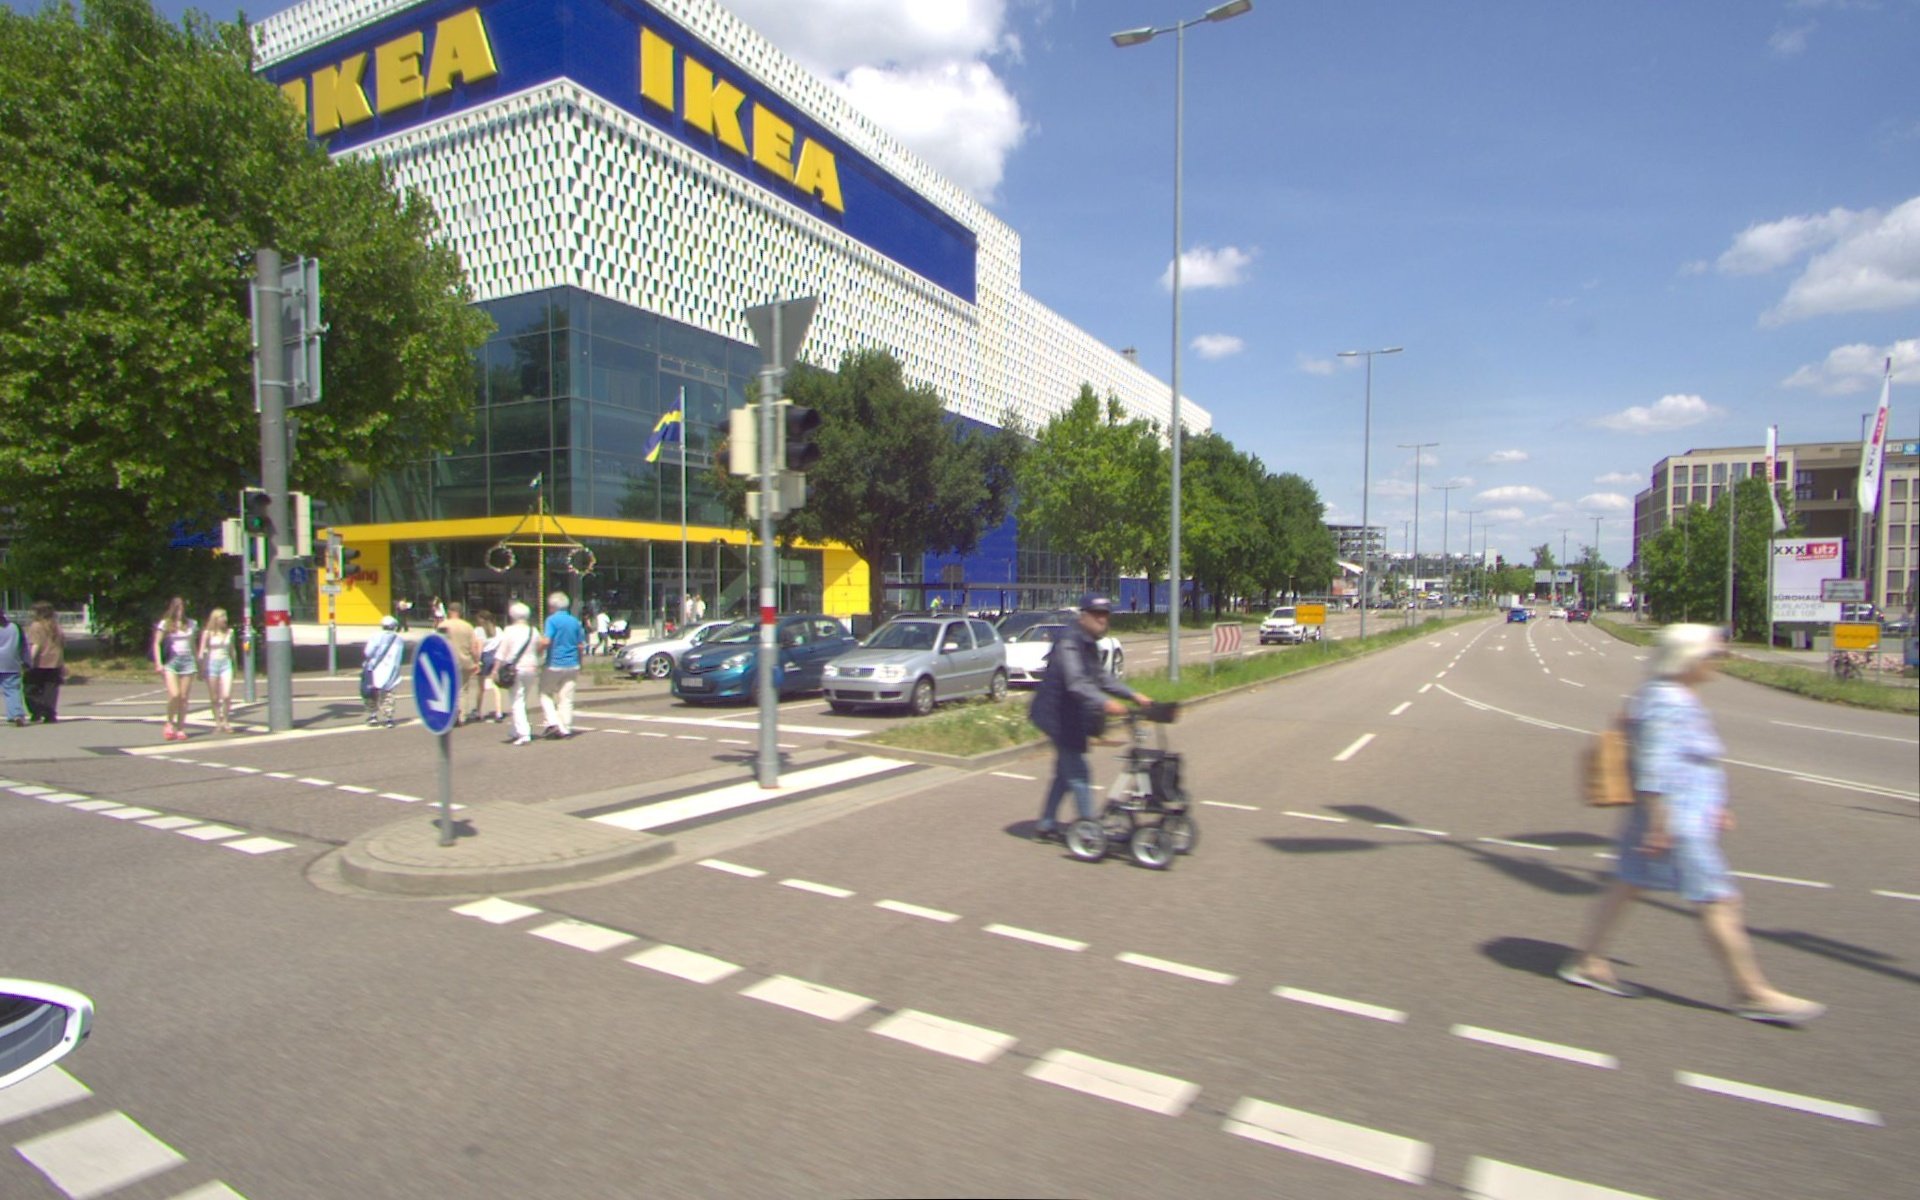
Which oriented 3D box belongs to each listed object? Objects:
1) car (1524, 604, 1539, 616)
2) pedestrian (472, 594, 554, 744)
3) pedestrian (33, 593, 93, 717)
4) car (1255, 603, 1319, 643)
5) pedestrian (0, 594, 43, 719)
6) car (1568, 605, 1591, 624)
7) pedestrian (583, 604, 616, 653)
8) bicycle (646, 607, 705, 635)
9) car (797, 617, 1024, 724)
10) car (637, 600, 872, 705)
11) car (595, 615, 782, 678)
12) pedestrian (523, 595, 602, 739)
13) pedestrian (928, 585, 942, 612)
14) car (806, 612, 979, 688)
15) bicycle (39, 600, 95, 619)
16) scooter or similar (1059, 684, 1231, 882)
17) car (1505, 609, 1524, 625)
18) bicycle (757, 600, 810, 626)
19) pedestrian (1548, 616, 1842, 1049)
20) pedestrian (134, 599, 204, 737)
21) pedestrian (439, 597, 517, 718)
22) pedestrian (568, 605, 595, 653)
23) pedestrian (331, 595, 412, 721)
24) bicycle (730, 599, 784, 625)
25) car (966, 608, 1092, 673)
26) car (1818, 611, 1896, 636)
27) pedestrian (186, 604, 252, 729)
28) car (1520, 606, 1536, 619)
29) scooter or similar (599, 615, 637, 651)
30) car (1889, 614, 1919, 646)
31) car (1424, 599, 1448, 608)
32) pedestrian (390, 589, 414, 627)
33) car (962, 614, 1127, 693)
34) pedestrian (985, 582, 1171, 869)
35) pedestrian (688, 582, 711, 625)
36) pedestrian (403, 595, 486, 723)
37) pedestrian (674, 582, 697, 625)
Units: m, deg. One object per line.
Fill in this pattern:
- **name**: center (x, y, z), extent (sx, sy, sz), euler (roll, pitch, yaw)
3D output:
- **car**: center (79.281, 1.369, 138.855), extent (1.734, 1.633, 3.533), euler (1, 0, 29)
- **pedestrian**: center (-5.172, 0.772, 11.578), extent (0.602, 1.659, 0.855), euler (0, 0, -45)
- **pedestrian**: center (-12.782, 0.762, 14.272), extent (0.619, 1.705, 0.718), euler (0, 1, -44)
- **car**: center (14.796, 1.004, 45.158), extent (1.969, 1.662, 4.064), euler (1, 0, 29)
- **pedestrian**: center (-12.745, 0.732, 13.333), extent (0.760, 1.627, 0.887), euler (0, 1, -44)
- **car**: center (70.348, 1.625, 113.776), extent (1.969, 2.040, 3.982), euler (1, 0, 29)
- **pedestrian**: center (-12.228, 0.956, 33.968), extent (0.622, 1.607, 0.918), euler (1, 1, 23)
- **bicycle**: center (-12.230, 0.890, 43.058), extent (2.388, 1.160, 0.801), euler (1, 1, 15)
- **car**: center (-0.636, 0.989, 15.647), extent (1.776, 1.415, 3.819), euler (1, 0, 29)
- **car**: center (-3.422, 0.824, 17.437), extent (1.968, 1.576, 3.986), euler (1, 0, 26)
- **car**: center (-6.772, 1.125, 25.289), extent (1.714, 1.436, 4.282), euler (0, -1, 45)
- **pedestrian**: center (-4.790, 0.785, 12.064), extent (0.598, 1.659, 0.855), euler (0, 0, -45)
- **pedestrian**: center (-1.506, -0.112, 59.620), extent (0.570, 1.607, 0.766), euler (1, 1, 23)
- **car**: center (-1.374, 1.021, 22.234), extent (1.824, 1.462, 4.398), euler (1, 0, 27)
- **bicycle**: center (-47.909, 0.497, 53.740), extent (0.854, 0.982, 2.060), euler (1, 1, 24)
- **scooter or similar**: center (1.156, 1.091, 6.237), extent (0.850, 1.045, 0.688), euler (1, 0, 33)
- **car**: center (57.188, 1.728, 103.289), extent (1.734, 1.633, 3.533), euler (1, 0, 29)
- **bicycle**: center (-8.576, 0.615, 48.649), extent (2.388, 1.215, 0.801), euler (1, 1, 15)
- **pedestrian**: center (2.810, 0.819, 3.915), extent (0.792, 1.495, 0.589), euler (1, 0, 23)
- **pedestrian**: center (-9.986, 0.839, 12.645), extent (0.631, 1.688, 0.526), euler (1, 1, 32)
- **pedestrian**: center (-6.998, 0.805, 14.532), extent (0.790, 1.681, 0.843), euler (0, 1, -45)
- **pedestrian**: center (-12.893, 0.972, 34.096), extent (0.622, 1.607, 0.610), euler (1, 1, 23)
- **pedestrian**: center (-8.165, 0.772, 13.887), extent (0.790, 1.681, 0.843), euler (0, 1, -45)
- **bicycle**: center (-9.594, 0.559, 47.303), extent (2.388, 1.215, 0.801), euler (1, 1, 15)
- **car**: center (1.999, 1.053, 27.567), extent (1.834, 1.605, 4.397), euler (1, 0, 28)
- **car**: center (66.076, 1.726, 73.858), extent (3.943, 1.706, 1.989), euler (1, 0, 33)
- **pedestrian**: center (-9.791, 0.852, 13.230), extent (0.603, 1.601, 0.526), euler (1, 1, 32)
- **car**: center (73.060, 1.637, 128.740), extent (1.734, 1.633, 3.533), euler (1, 0, 29)
- **scooter or similar**: center (-11.847, 1.130, 34.690), extent (0.717, 1.214, 1.073), euler (1, 0, 26)
- **car**: center (54.333, 1.681, 55.277), extent (4.058, 1.706, 1.993), euler (1, 0, 27)
- **car**: center (88.350, 0.618, 185.894), extent (3.622, 1.633, 1.800), euler (1, 0, 4)
- **pedestrian**: center (-26.170, 0.350, 46.962), extent (0.732, 1.759, 0.777), euler (2, 1, 40)
- **car**: center (1.839, 1.059, 20.468), extent (1.776, 1.416, 4.216), euler (0, -2, 29)
- **pedestrian**: center (0.769, 0.744, 6.494), extent (0.934, 1.695, 0.780), euler (1, 0, 35)
- **pedestrian**: center (-12.427, 0.167, 47.714), extent (0.723, 2.041, 0.794), euler (1, 1, 36)
- **pedestrian**: center (-7.078, 0.780, 13.745), extent (0.790, 1.681, 0.843), euler (0, 1, -45)
- **pedestrian**: center (-13.231, 0.171, 48.337), extent (0.724, 2.041, 0.793), euler (2, 1, 40)
